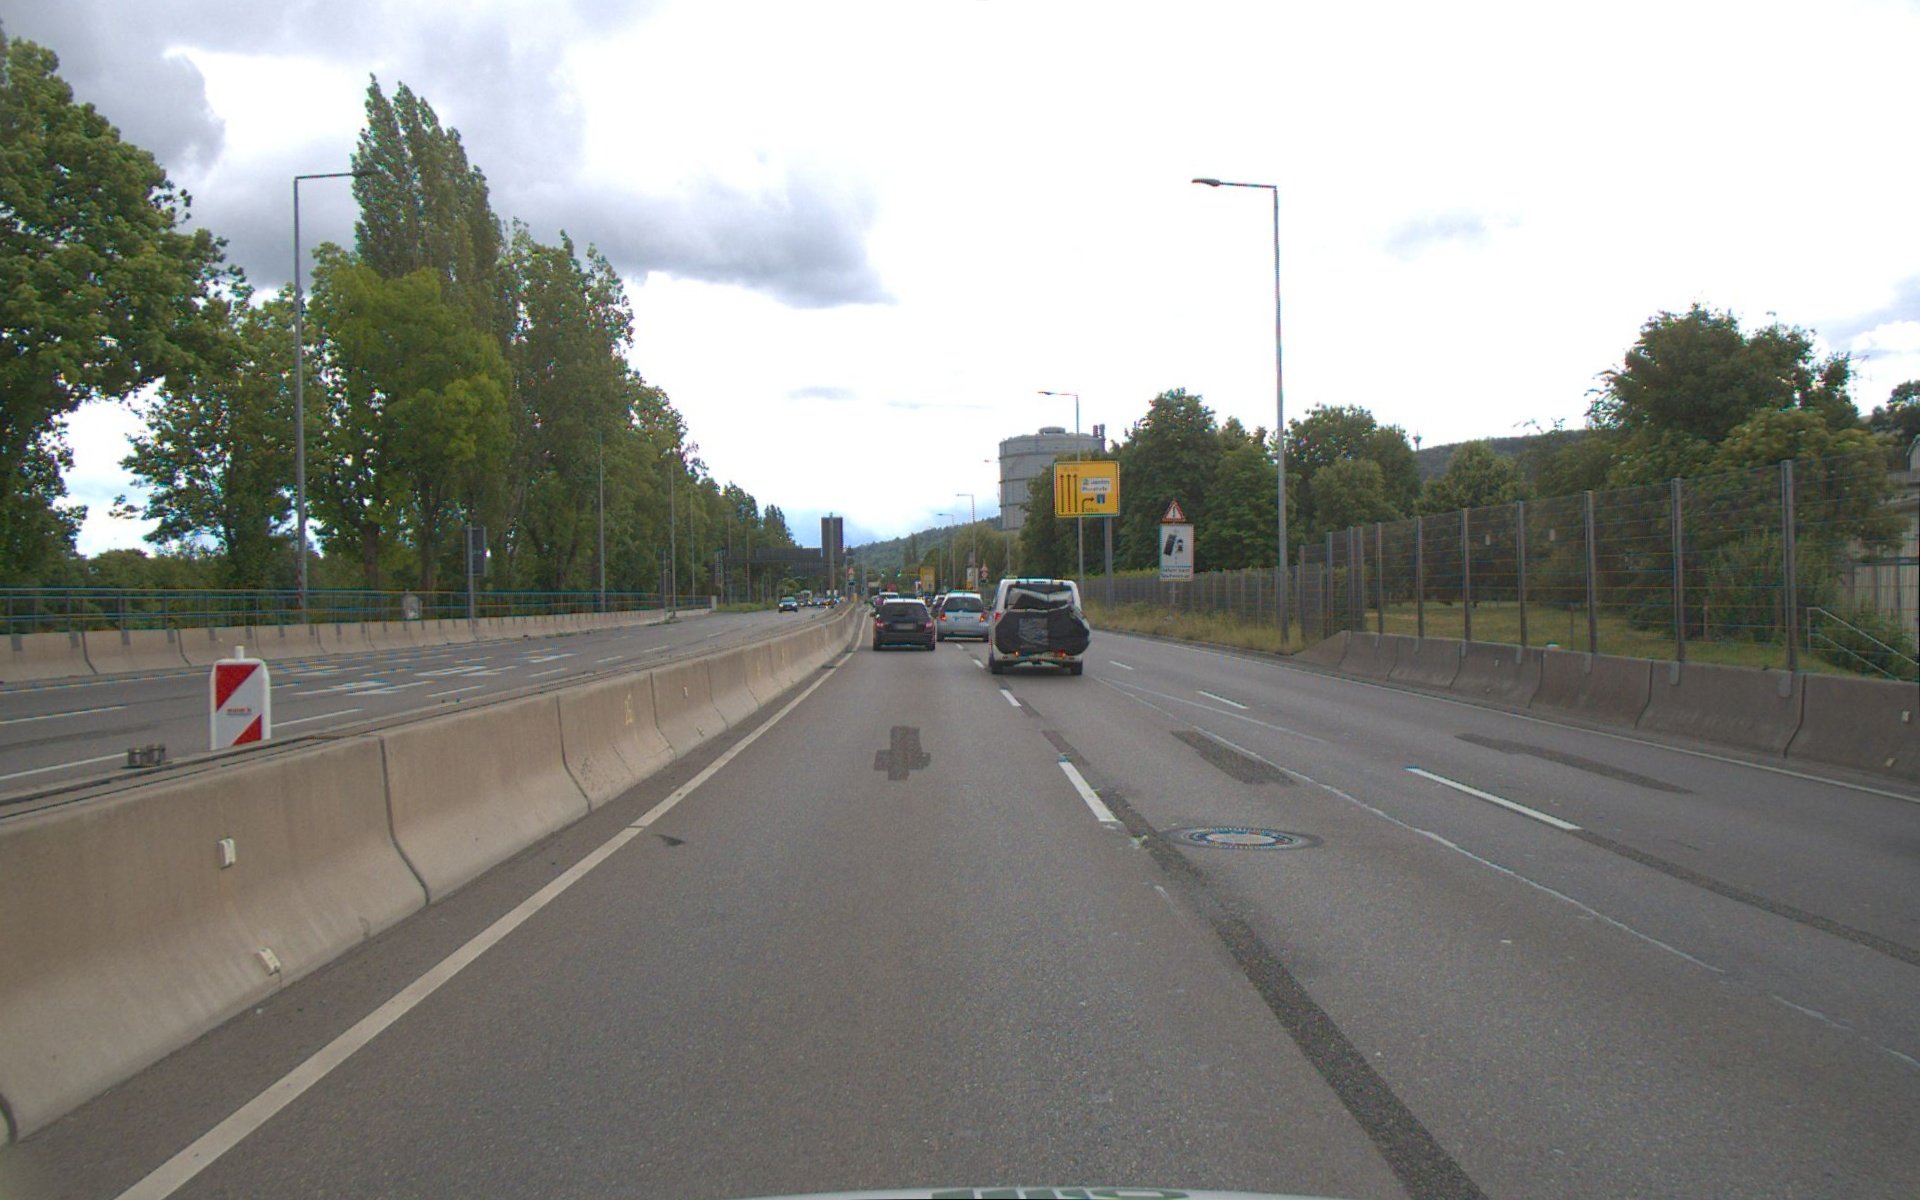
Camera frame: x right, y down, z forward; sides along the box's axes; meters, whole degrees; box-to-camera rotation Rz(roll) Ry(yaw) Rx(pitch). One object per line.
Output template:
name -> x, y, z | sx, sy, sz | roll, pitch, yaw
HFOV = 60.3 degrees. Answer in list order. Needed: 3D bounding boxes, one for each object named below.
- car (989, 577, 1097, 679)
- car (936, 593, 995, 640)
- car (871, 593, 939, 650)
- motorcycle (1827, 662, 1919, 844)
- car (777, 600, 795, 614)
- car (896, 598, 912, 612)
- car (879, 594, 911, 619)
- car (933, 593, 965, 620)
car -> 1.600, 0.518, 33.743 | 1.952, 1.891, 5.641 | 0, 0, 0
car -> 0.138, 0.534, 55.254 | 1.882, 1.515, 4.064 | 0, 0, -1
car -> -1.508, 0.578, 46.663 | 1.778, 1.459, 4.065 | -2, 0, 0
motorcycle -> 6.437, 0.981, 10.070 | 0.729, 1.102, 2.662 | -1, 0, -5
car -> -16.872, 0.681, 160.373 | 1.699, 1.398, 3.612 | 0, 0, -6
car -> -6.837, 0.581, 201.421 | 1.954, 1.683, 3.997 | 0, 0, -3
car -> -4.423, 0.459, 112.699 | 1.953, 1.702, 4.000 | 1, -1, 0
car -> -0.716, 0.412, 104.568 | 1.953, 1.698, 3.999 | 0, 0, -1
